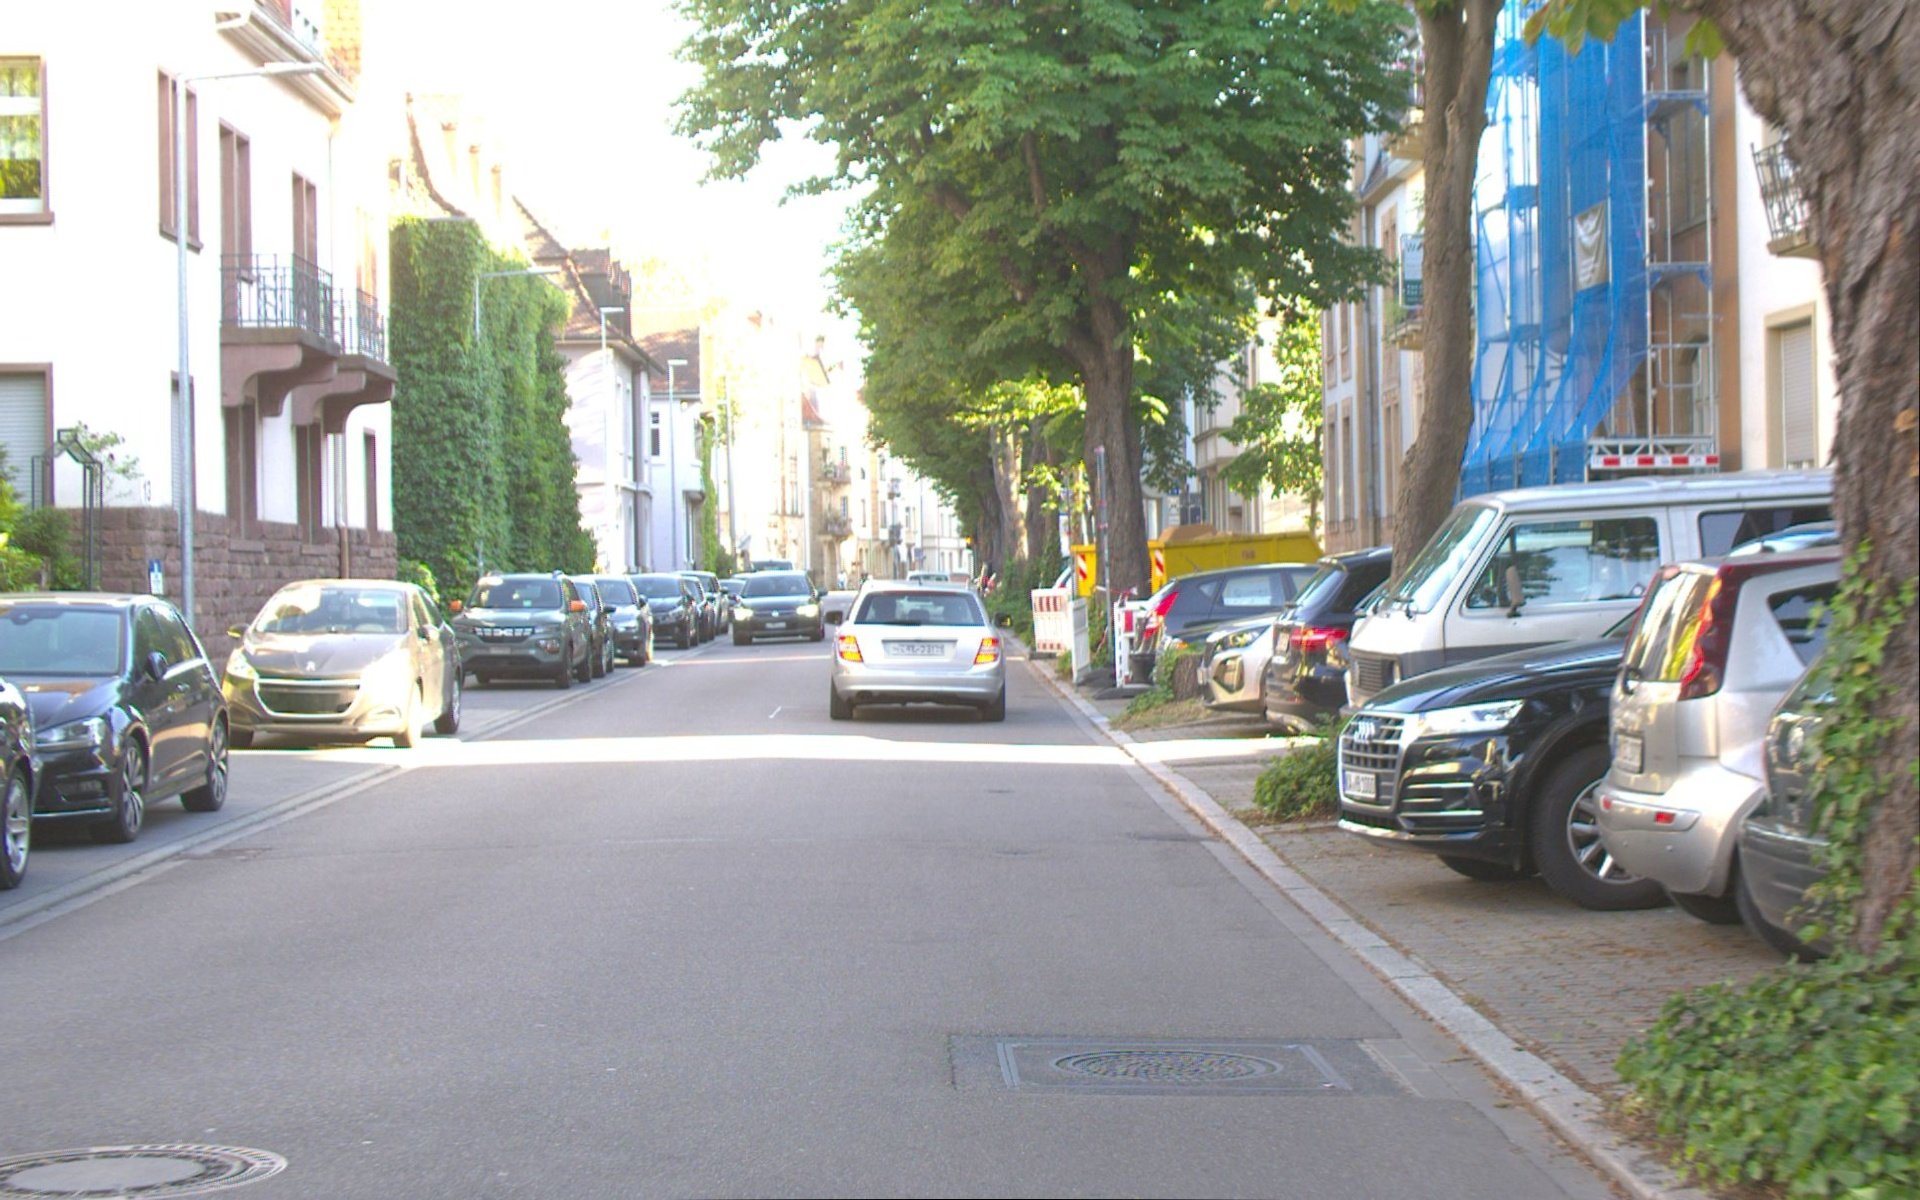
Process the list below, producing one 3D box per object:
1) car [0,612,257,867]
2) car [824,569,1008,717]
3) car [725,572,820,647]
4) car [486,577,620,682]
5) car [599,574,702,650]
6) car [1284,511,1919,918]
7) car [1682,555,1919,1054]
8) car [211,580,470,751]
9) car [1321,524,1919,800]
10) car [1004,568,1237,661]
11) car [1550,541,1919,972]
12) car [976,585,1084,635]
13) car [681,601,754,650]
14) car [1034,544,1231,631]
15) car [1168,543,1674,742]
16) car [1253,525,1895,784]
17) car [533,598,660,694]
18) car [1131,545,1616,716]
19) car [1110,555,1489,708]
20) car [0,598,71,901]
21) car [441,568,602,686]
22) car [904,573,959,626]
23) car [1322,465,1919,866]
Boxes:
[{"bbox_3d":[-5.629,0.799,21.590,1.653,1.410,4.168,1,0,-1],"label":"car"},{"bbox_3d":[-0.431,0.447,35.528,1.784,1.432,3.850,0,-1,0],"label":"car"},{"bbox_3d":[-3.814,0.175,70.415,1.772,1.443,4.000,-1,0,-1],"label":"car"},{"bbox_3d":[-5.862,0.404,49.812,1.653,1.442,3.844,1,0,-3],"label":"car"},{"bbox_3d":[-5.993,0.229,66.828,1.649,1.416,4.098,1,0,0],"label":"car"},{"bbox_3d":[3.754,0.484,15.901,4.174,1.718,1.766,-1,-1,-8],"label":"car"},{"bbox_3d":[4.340,0.579,10.783,3.720,1.426,1.759,-1,-1,-2],"label":"car"},{"bbox_3d":[-5.576,0.559,31.374,1.653,1.442,4.005,1,0,0],"label":"car"},{"bbox_3d":[4.513,0.395,23.341,3.949,1.677,1.705,-2,0,3],"label":"car"},{"bbox_3d":[2.921,0.261,62.925,4.144,1.529,1.686,-2,0,2],"label":"car"},{"bbox_3d":[4.322,0.553,13.355,3.720,1.549,1.639,-1,-1,-2],"label":"car"},{"bbox_3d":[2.832,0.397,139.952,4.219,1.890,1.906,-2,0,-2],"label":"car"},{"bbox_3d":[-6.809,0.716,96.881,1.653,1.319,4.045,1,0,2],"label":"car"},{"bbox_3d":[3.925,-0.284,78.725,4.314,1.801,2.000,-2,0,-1],"label":"car"},{"bbox_3d":[4.007,0.365,30.401,4.155,1.534,1.851,-2,0,0],"label":"car"},{"bbox_3d":[4.428,0.377,25.211,4.331,1.677,1.705,-2,0,-1],"label":"car"},{"bbox_3d":[-5.850,0.712,55.760,1.792,1.456,4.778,1,0,-3],"label":"car"},{"bbox_3d":[4.212,0.306,35.552,4.718,1.530,1.851,-2,0,0],"label":"car"},{"bbox_3d":[3.713,0.342,38.134,3.987,1.487,1.851,-2,0,1],"label":"car"},{"bbox_3d":[-5.478,0.723,15.872,1.709,1.465,4.634,1,0,-2],"label":"car"},{"bbox_3d":[-5.762,0.346,45.500,1.653,1.481,3.764,1,0,0],"label":"car"},{"bbox_3d":[-0.859,-0.011,104.398,1.623,1.564,3.680,0,0,0],"label":"car"},{"bbox_3d":[4.310,0.323,18.404,4.469,2.007,1.896,0,0,-2],"label":"car"}]
